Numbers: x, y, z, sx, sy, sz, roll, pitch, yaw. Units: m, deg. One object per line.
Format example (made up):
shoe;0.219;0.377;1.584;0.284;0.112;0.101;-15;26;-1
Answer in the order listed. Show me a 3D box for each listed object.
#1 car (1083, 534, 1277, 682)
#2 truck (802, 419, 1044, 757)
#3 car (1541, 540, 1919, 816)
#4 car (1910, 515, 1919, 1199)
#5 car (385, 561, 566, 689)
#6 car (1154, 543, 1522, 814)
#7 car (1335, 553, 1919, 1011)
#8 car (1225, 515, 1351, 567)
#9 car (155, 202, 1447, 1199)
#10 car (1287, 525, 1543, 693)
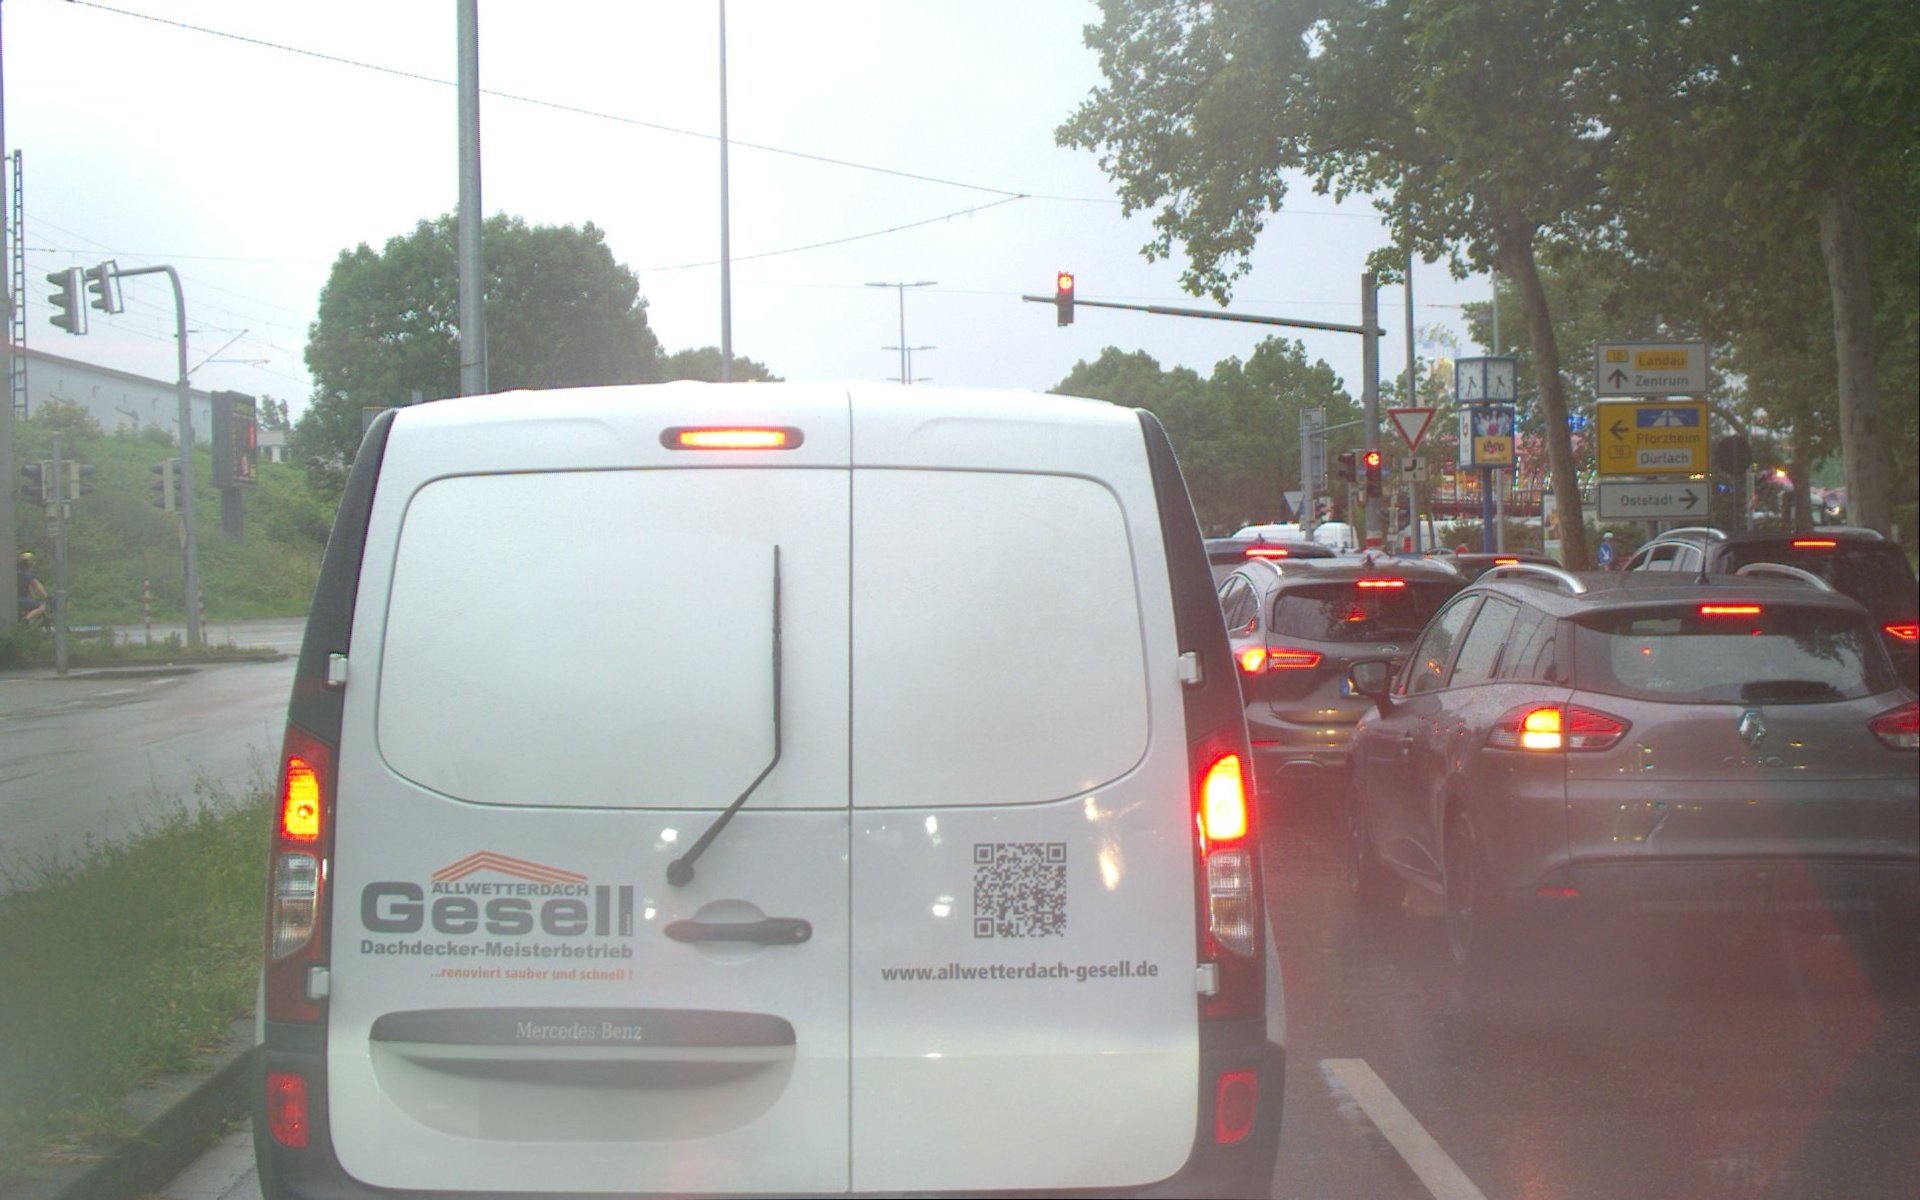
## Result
car;2.236;0.041;35.836;1.711;1.440;4.000;0;1;-1
truck;-0.348;-0.106;27.034;1.756;2.458;4.000;0;0;-2
car;5.347;0.476;23.595;1.856;1.720;4.191;0;0;-2
car;2.966;0.645;5.364;1.708;1.544;4.001;0;2;-2
car;-6.382;0.294;45.642;1.826;1.563;4.000;-2;1;0
car;2.162;0.394;20.616;1.711;1.440;4.000;0;1;-1
car;2.526;0.558;13.074;1.711;1.440;4.000;0;1;-1
car;11.239;-2.011;117.747;3.991;1.707;1.771;0;-1;20
car;-0.320;0.377;7.322;1.993;2.007;4.000;0;0;-2
car;4.397;0.068;33.822;1.839;1.531;4.112;1;0;-2
